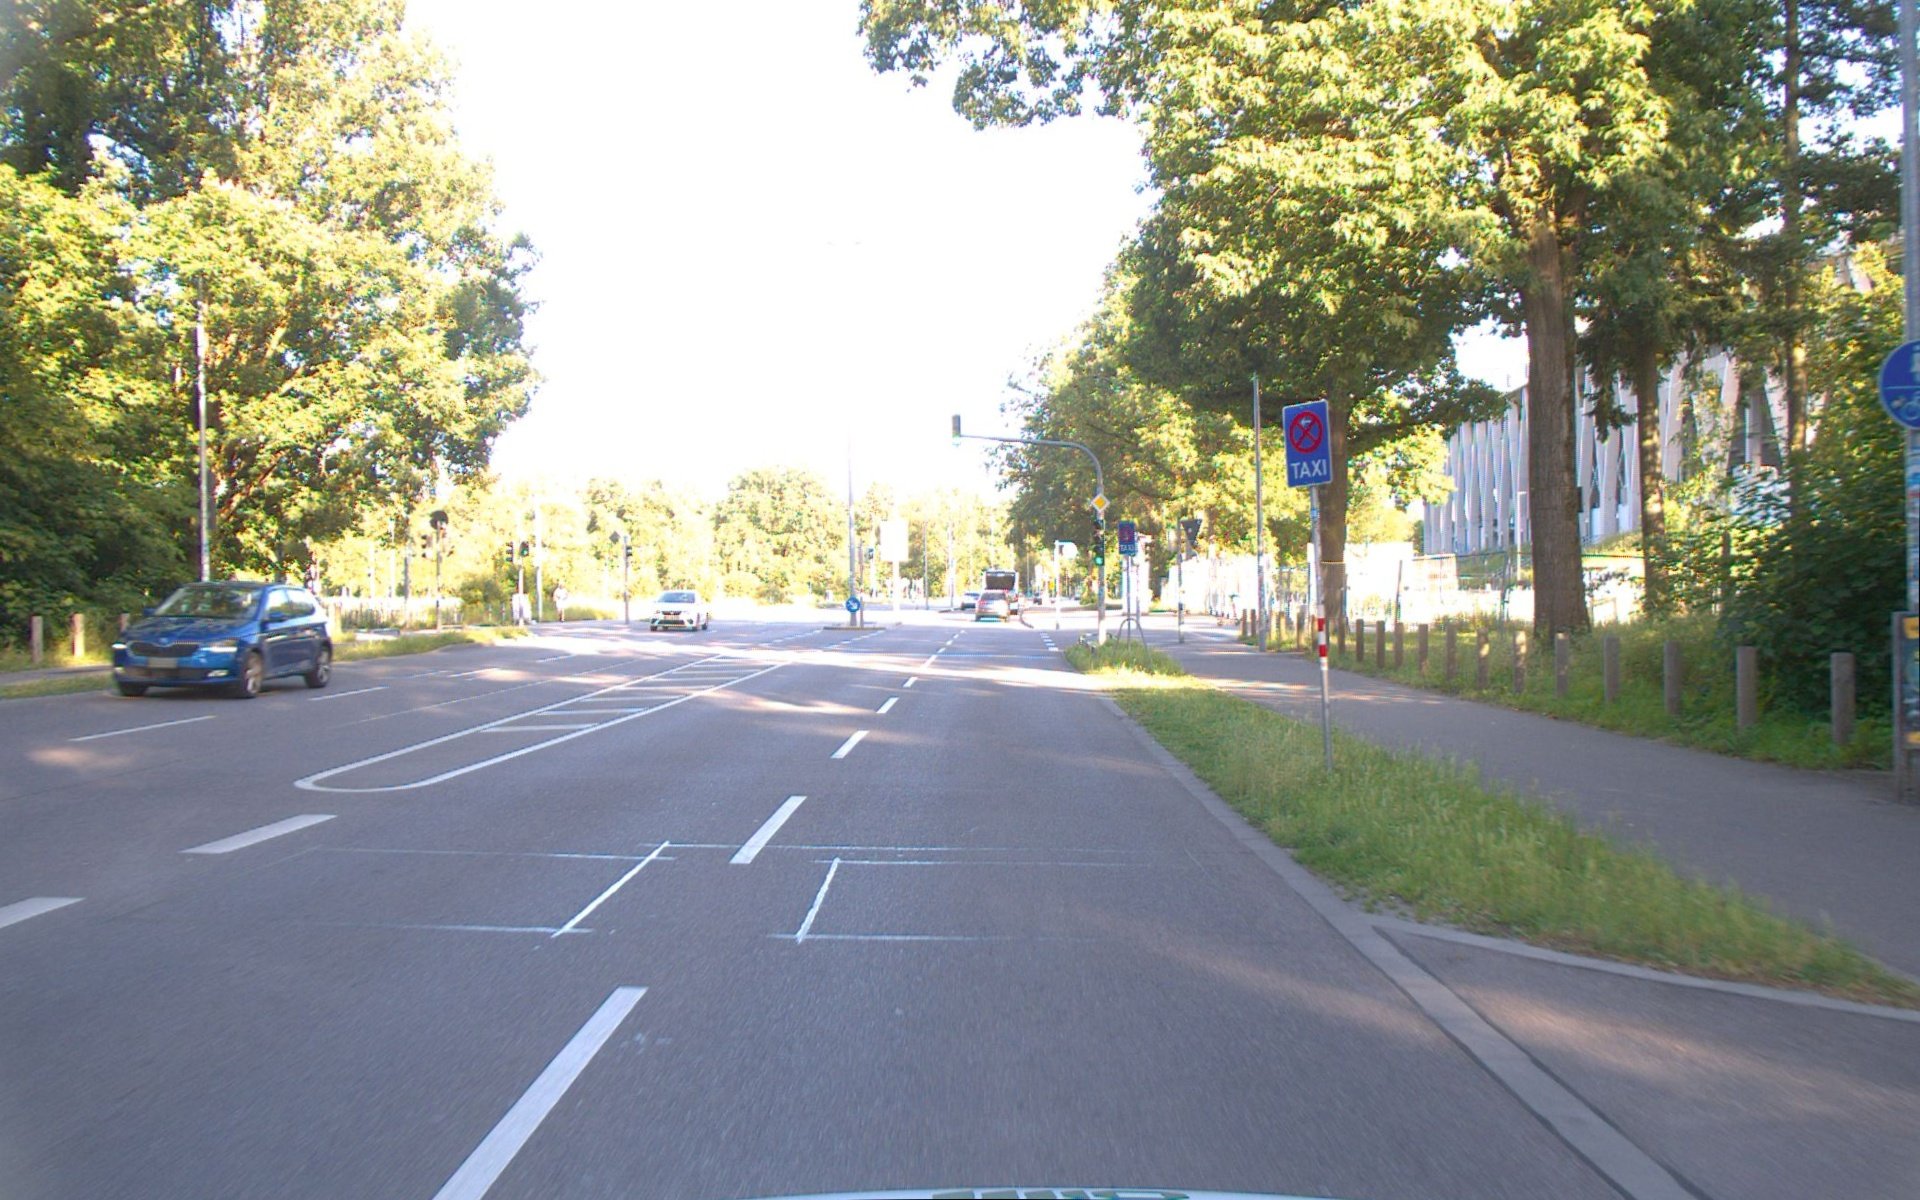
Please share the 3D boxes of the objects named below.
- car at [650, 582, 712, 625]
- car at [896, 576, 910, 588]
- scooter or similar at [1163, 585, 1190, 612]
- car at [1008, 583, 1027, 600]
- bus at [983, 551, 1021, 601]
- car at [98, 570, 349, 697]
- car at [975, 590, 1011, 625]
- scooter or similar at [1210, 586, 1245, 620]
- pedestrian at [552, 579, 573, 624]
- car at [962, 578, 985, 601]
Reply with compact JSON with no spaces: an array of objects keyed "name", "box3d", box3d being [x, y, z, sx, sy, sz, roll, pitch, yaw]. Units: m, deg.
[{"name":"car","box3d":[-10.190,0.112,60.634,1.676,1.489,4.099,1,0,-2]},{"name":"car","box3d":[-8.672,-2.752,251.846,1.824,1.713,3.773,-1,1,1]},{"name":"scooter or similar","box3d":[10.471,-0.092,80.102,0.559,1.278,1.592,0,0,39]},{"name":"car","box3d":[5.999,-0.914,171.816,1.823,1.713,3.775,-1,1,5]},{"name":"bus","box3d":[2.894,-1.703,116.755,2.551,3.427,7.976,0,1,1]},{"name":"car","box3d":[-9.744,0.389,22.221,1.622,1.534,3.999,0,1,-1]},{"name":"car","box3d":[1.747,0.382,88.302,1.841,1.796,4.001,0,1,1]},{"name":"scooter or similar","box3d":[10.575,0.102,65.405,1.350,1.310,0.595,-1,4,-42]},{"name":"pedestrian","box3d":[-17.395,0.048,72.406,0.599,1.943,1.106,-1,0,1]},{"name":"car","box3d":[1.136,-0.894,137.447,1.841,1.796,4.001,0,1,1]}]
